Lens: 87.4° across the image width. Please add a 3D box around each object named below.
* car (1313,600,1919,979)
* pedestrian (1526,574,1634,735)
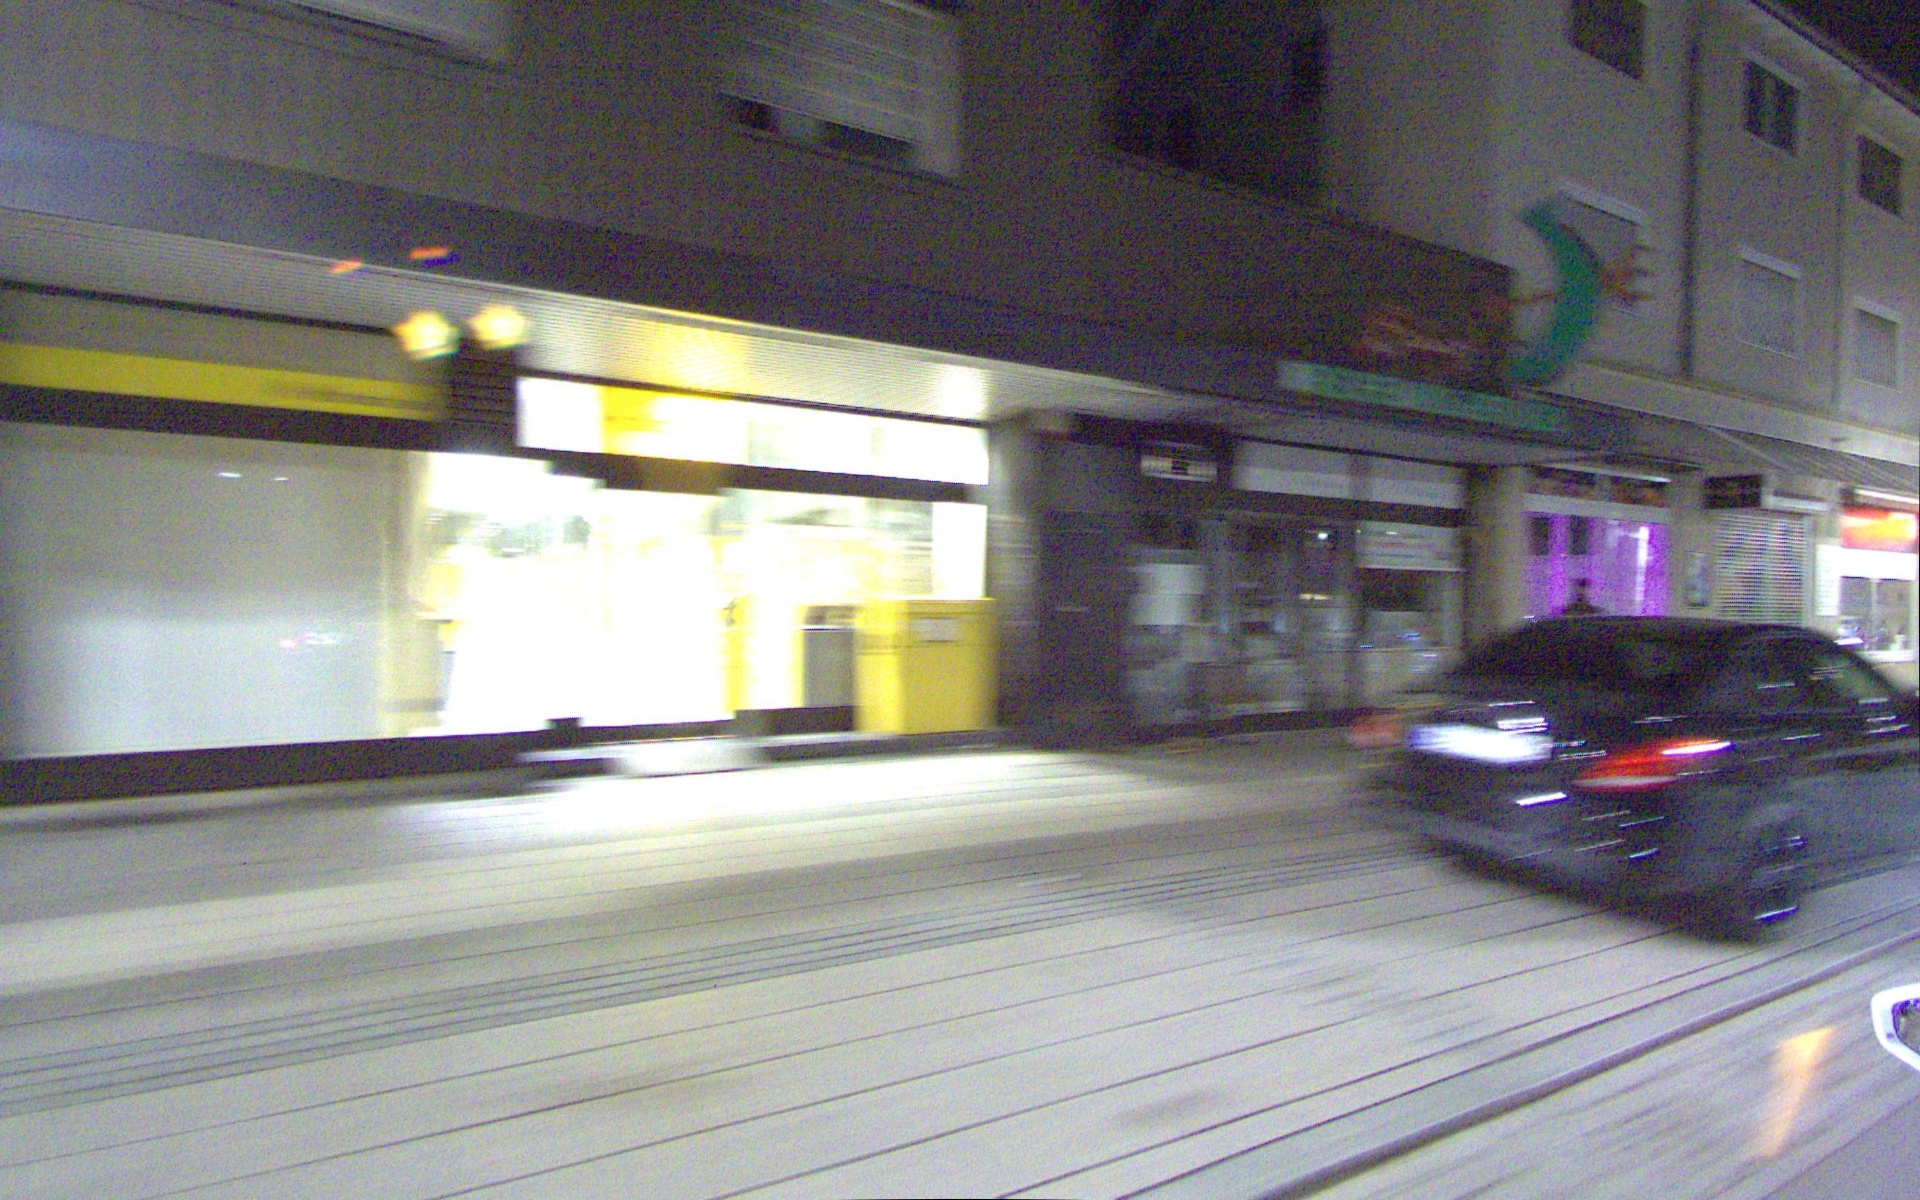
[{"bbox_3d":[4.216,0.781,5.748,4.333,1.432,1.708,1,1,-30],"label":"car"},{"bbox_3d":[7.154,0.605,11.582,1.010,1.769,0.618,1,1,-30],"label":"pedestrian"}]
